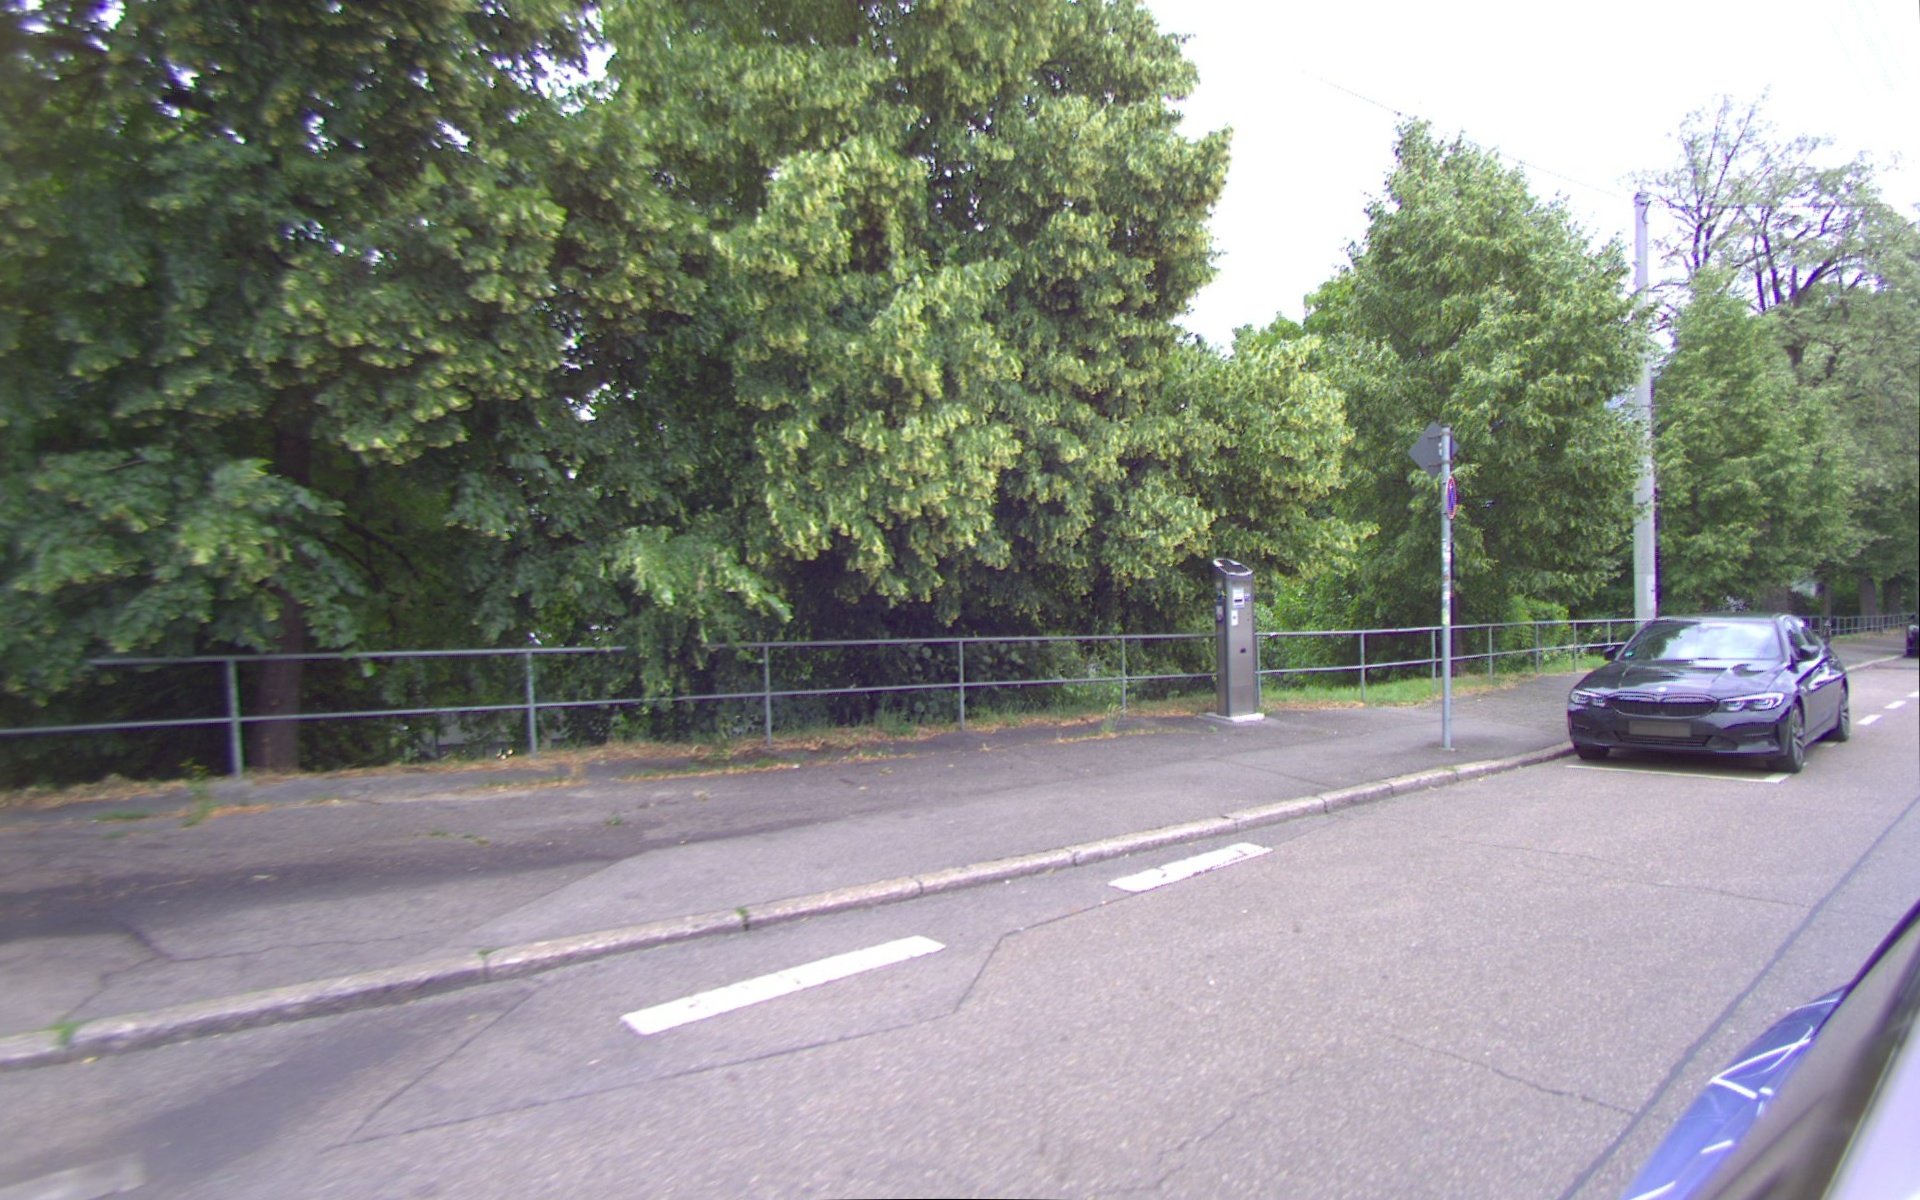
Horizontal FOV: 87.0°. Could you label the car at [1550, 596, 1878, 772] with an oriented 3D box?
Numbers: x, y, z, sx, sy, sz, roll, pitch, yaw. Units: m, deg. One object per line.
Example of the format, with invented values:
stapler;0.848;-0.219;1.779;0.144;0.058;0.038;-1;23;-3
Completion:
car;8.067;0.735;10.679;4.311;1.461;1.861;0;-2;-41
